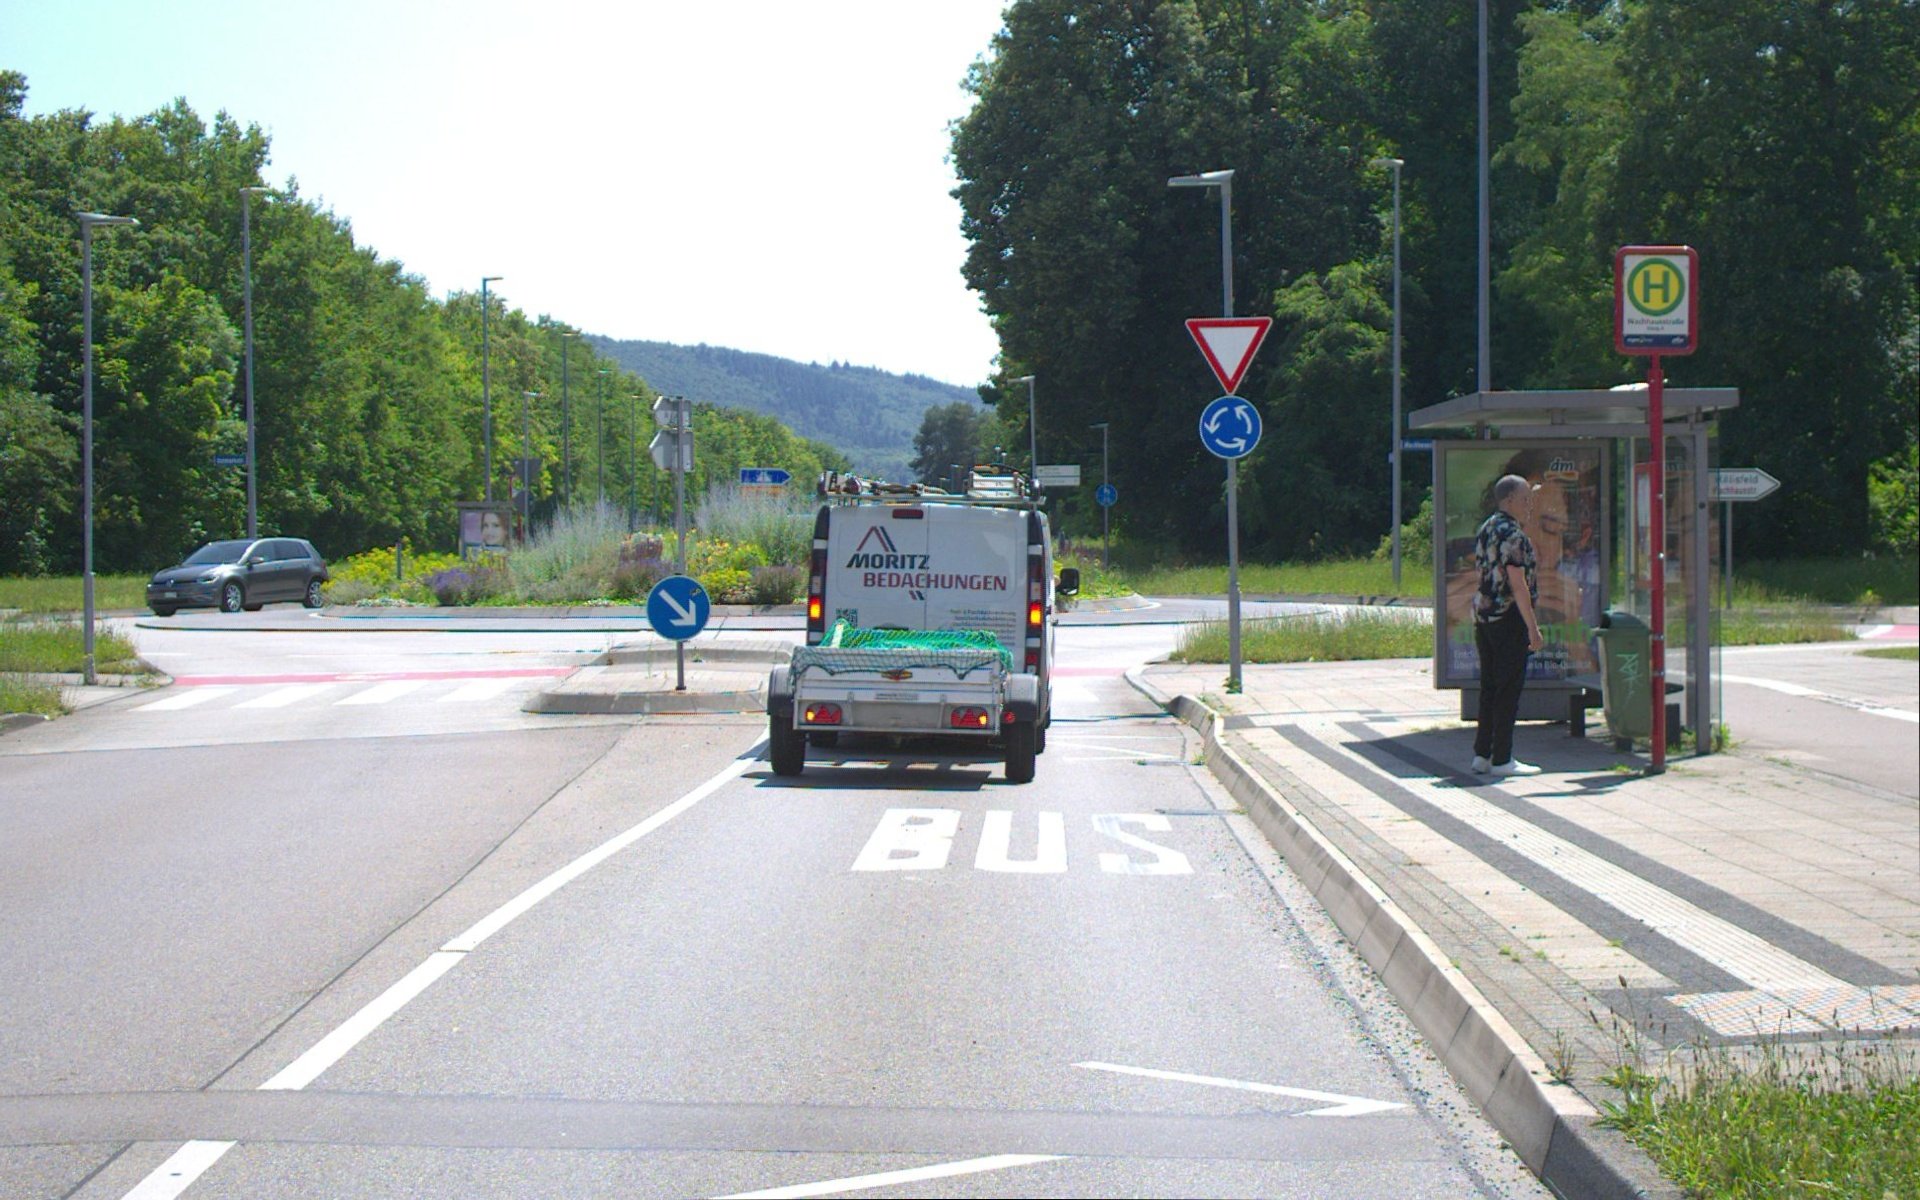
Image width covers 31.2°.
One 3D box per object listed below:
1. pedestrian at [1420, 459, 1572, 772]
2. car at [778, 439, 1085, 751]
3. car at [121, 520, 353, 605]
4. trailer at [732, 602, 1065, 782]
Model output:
[{"bbox_3d":[3.206,0.087,20.630,0.708,1.816,0.826,-2,1,0],"label":"pedestrian"},{"bbox_3d":[-0.128,-0.072,28.215,2.166,2.308,4.981,1,1,3],"label":"car"},{"bbox_3d":[-13.959,-0.740,66.615,1.997,1.473,4.282,-1,2,31],"label":"car"},{"bbox_3d":[-0.351,0.599,24.067,2.121,1.093,3.354,1,1,2],"label":"trailer"}]
